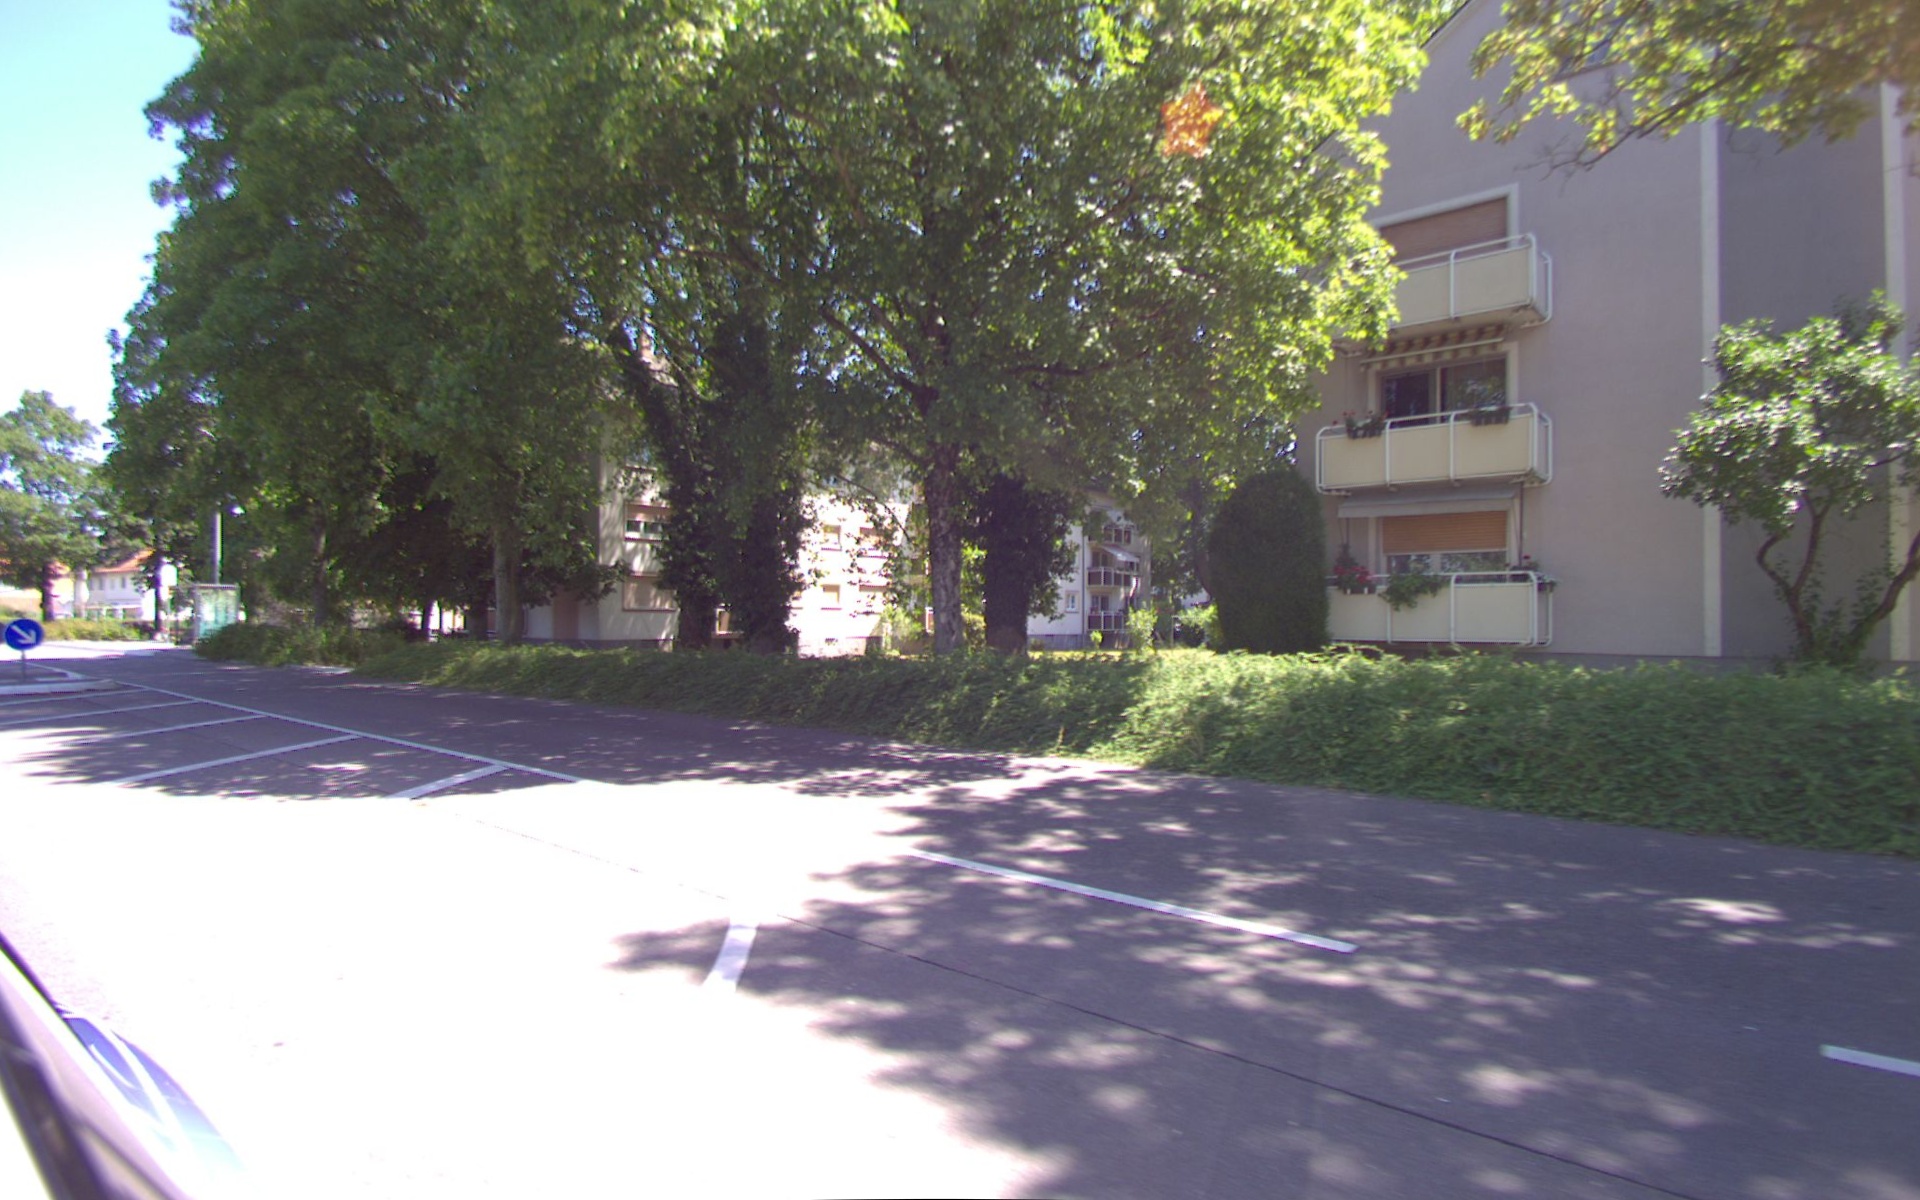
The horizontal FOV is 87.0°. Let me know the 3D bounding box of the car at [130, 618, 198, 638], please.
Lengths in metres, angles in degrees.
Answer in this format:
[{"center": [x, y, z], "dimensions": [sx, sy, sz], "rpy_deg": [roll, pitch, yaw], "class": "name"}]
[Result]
[{"center": [-57.991, 2.055, 73.800], "dimensions": [1.544, 1.461, 3.666], "rpy_deg": [0, -2, 20], "class": "car"}]
